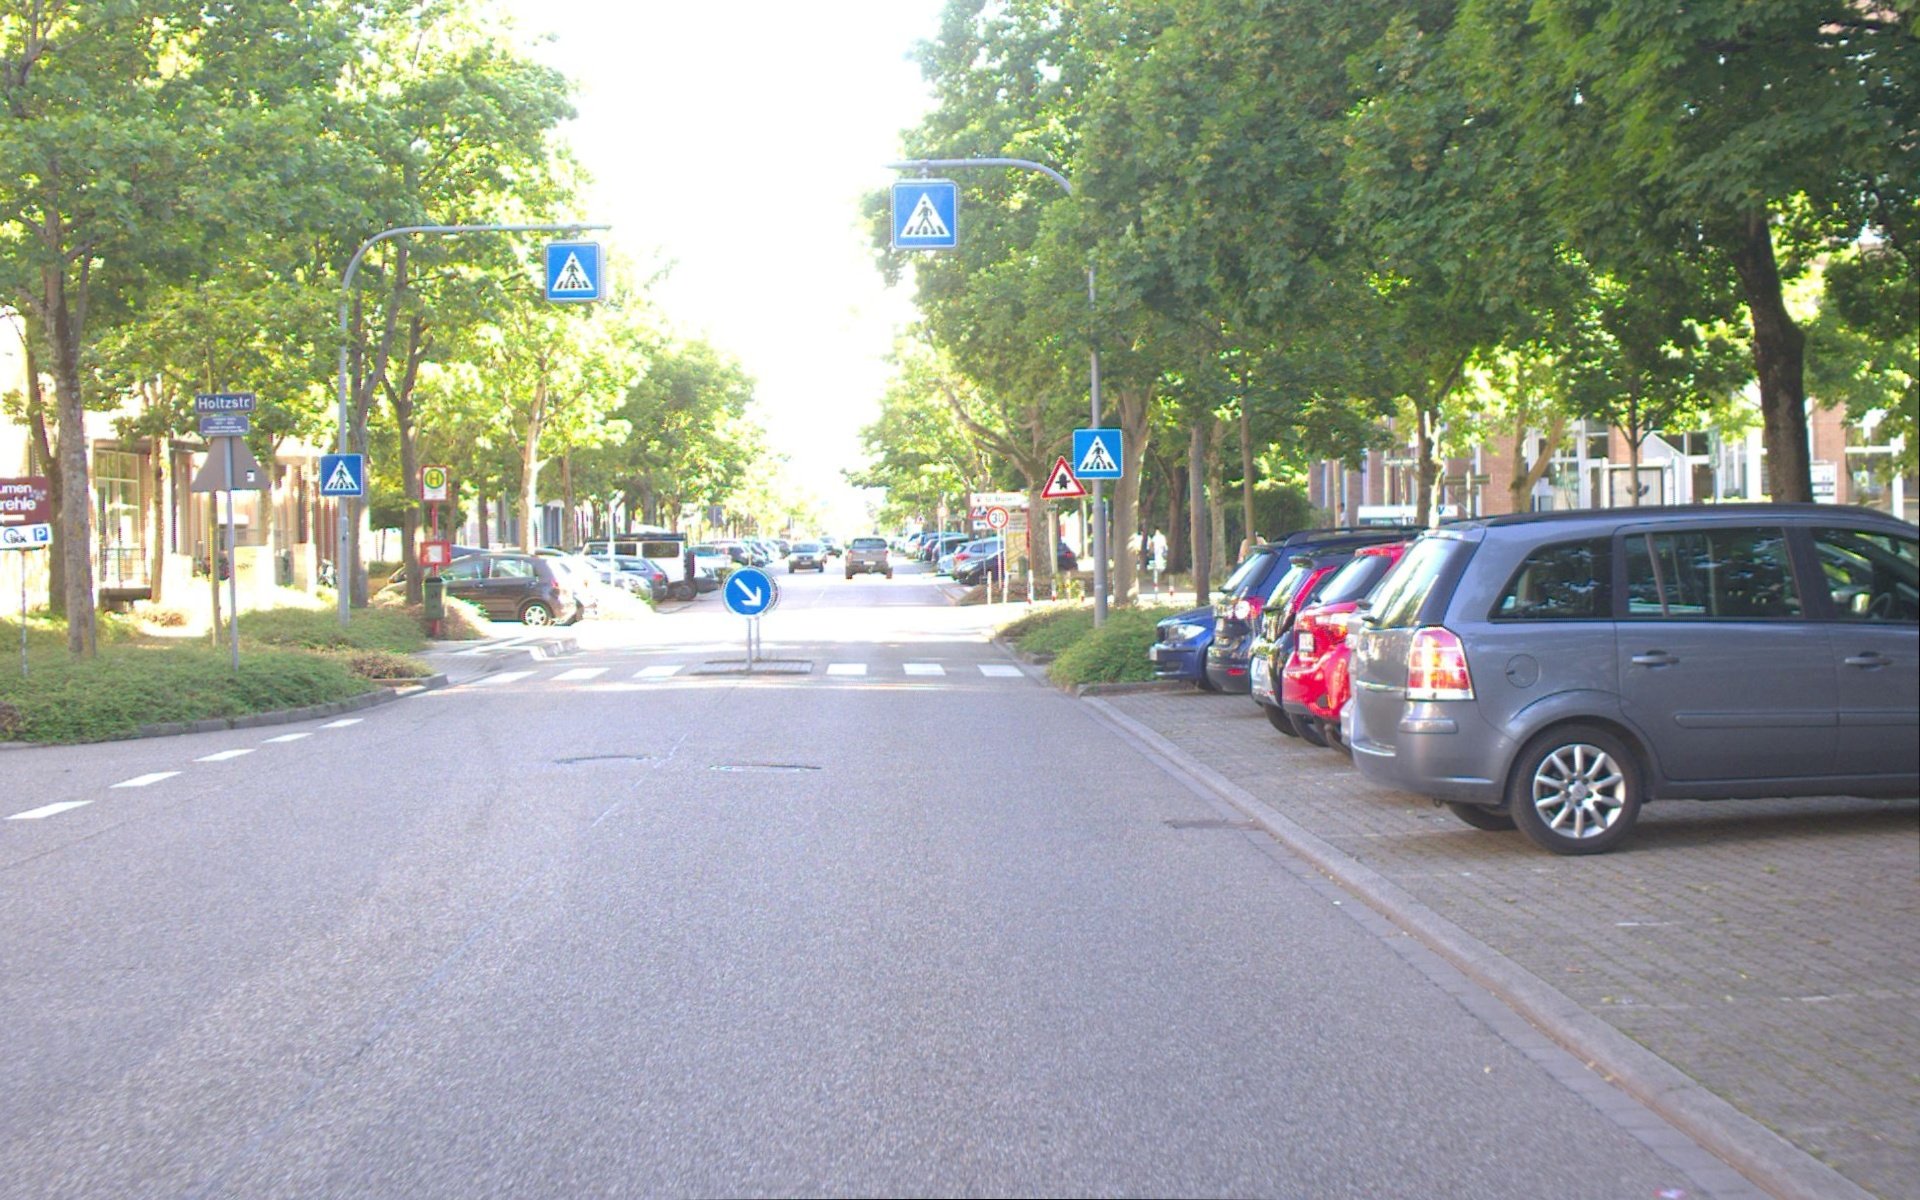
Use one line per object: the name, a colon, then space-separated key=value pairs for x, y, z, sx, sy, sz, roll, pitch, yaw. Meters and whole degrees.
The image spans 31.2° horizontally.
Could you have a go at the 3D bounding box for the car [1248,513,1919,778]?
car: x=4.222 y=0.282 z=23.526 sx=4.190 sy=1.530 sz=1.813 roll=-3 pitch=1 yaw=-4

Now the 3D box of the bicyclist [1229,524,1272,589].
bicyclist: x=5.516 y=-0.834 z=65.277 sx=0.698 sy=1.210 sz=0.945 roll=-1 pitch=1 yaw=10

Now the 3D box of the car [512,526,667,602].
car: x=-10.334 y=-1.016 z=96.030 sx=3.987 sy=2.007 sz=2.000 roll=-2 pitch=1 yaw=3

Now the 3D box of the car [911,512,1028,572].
car: x=0.319 y=-2.049 z=121.180 sx=3.986 sy=2.007 sz=2.000 roll=-2 pitch=1 yaw=-3

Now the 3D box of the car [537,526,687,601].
car: x=-9.979 y=-1.052 z=98.800 sx=3.987 sy=2.007 sz=2.000 roll=-2 pitch=1 yaw=3

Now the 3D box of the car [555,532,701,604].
car: x=-9.777 y=-0.947 z=101.513 sx=3.987 sy=2.007 sz=2.000 roll=-2 pitch=1 yaw=3

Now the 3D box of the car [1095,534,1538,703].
car: x=3.593 y=0.167 z=35.120 sx=4.190 sy=1.468 sz=1.813 roll=-3 pitch=1 yaw=-4

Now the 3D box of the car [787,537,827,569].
car: x=-7.715 y=-2.367 z=173.611 sx=1.813 sy=1.519 sz=4.000 roll=-2 pitch=1 yaw=-1

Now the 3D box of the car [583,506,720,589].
car: x=-9.556 y=-1.636 z=106.780 sx=3.987 sy=2.532 sz=1.862 roll=0 pitch=1 yaw=3

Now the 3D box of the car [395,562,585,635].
car: x=-9.717 y=-0.033 z=71.293 sx=3.848 sy=1.468 sz=1.813 roll=0 pitch=1 yaw=-6

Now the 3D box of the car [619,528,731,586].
car: x=-10.429 y=-1.593 z=125.985 sx=3.986 sy=2.007 sz=2.000 roll=-2 pitch=1 yaw=-3

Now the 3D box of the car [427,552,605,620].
car: x=-9.804 y=-0.317 z=75.979 sx=3.847 sy=1.468 sz=1.813 roll=0 pitch=1 yaw=-7

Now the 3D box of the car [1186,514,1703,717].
car: x=4.237 y=0.116 z=30.468 sx=4.190 sy=1.530 sz=1.813 roll=-3 pitch=1 yaw=-4

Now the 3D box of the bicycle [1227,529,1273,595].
bicycle: x=5.520 y=-0.735 z=65.290 sx=0.684 sy=1.210 sz=1.975 roll=-1 pitch=1 yaw=10

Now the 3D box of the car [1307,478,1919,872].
car: x=4.058 y=0.288 z=16.957 sx=4.350 sy=1.698 sz=1.813 roll=-3 pitch=1 yaw=-4

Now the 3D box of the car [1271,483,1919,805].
car: x=4.121 y=0.216 z=20.585 sx=4.190 sy=1.663 sz=1.813 roll=-3 pitch=1 yaw=-4

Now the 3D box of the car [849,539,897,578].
car: x=-3.709 y=-1.766 z=145.954 sx=1.993 sy=1.634 sz=4.000 roll=0 pitch=1 yaw=-1

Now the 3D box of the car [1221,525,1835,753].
car: x=4.203 y=0.266 z=25.868 sx=4.190 sy=1.443 sz=1.813 roll=-3 pitch=1 yaw=-4
